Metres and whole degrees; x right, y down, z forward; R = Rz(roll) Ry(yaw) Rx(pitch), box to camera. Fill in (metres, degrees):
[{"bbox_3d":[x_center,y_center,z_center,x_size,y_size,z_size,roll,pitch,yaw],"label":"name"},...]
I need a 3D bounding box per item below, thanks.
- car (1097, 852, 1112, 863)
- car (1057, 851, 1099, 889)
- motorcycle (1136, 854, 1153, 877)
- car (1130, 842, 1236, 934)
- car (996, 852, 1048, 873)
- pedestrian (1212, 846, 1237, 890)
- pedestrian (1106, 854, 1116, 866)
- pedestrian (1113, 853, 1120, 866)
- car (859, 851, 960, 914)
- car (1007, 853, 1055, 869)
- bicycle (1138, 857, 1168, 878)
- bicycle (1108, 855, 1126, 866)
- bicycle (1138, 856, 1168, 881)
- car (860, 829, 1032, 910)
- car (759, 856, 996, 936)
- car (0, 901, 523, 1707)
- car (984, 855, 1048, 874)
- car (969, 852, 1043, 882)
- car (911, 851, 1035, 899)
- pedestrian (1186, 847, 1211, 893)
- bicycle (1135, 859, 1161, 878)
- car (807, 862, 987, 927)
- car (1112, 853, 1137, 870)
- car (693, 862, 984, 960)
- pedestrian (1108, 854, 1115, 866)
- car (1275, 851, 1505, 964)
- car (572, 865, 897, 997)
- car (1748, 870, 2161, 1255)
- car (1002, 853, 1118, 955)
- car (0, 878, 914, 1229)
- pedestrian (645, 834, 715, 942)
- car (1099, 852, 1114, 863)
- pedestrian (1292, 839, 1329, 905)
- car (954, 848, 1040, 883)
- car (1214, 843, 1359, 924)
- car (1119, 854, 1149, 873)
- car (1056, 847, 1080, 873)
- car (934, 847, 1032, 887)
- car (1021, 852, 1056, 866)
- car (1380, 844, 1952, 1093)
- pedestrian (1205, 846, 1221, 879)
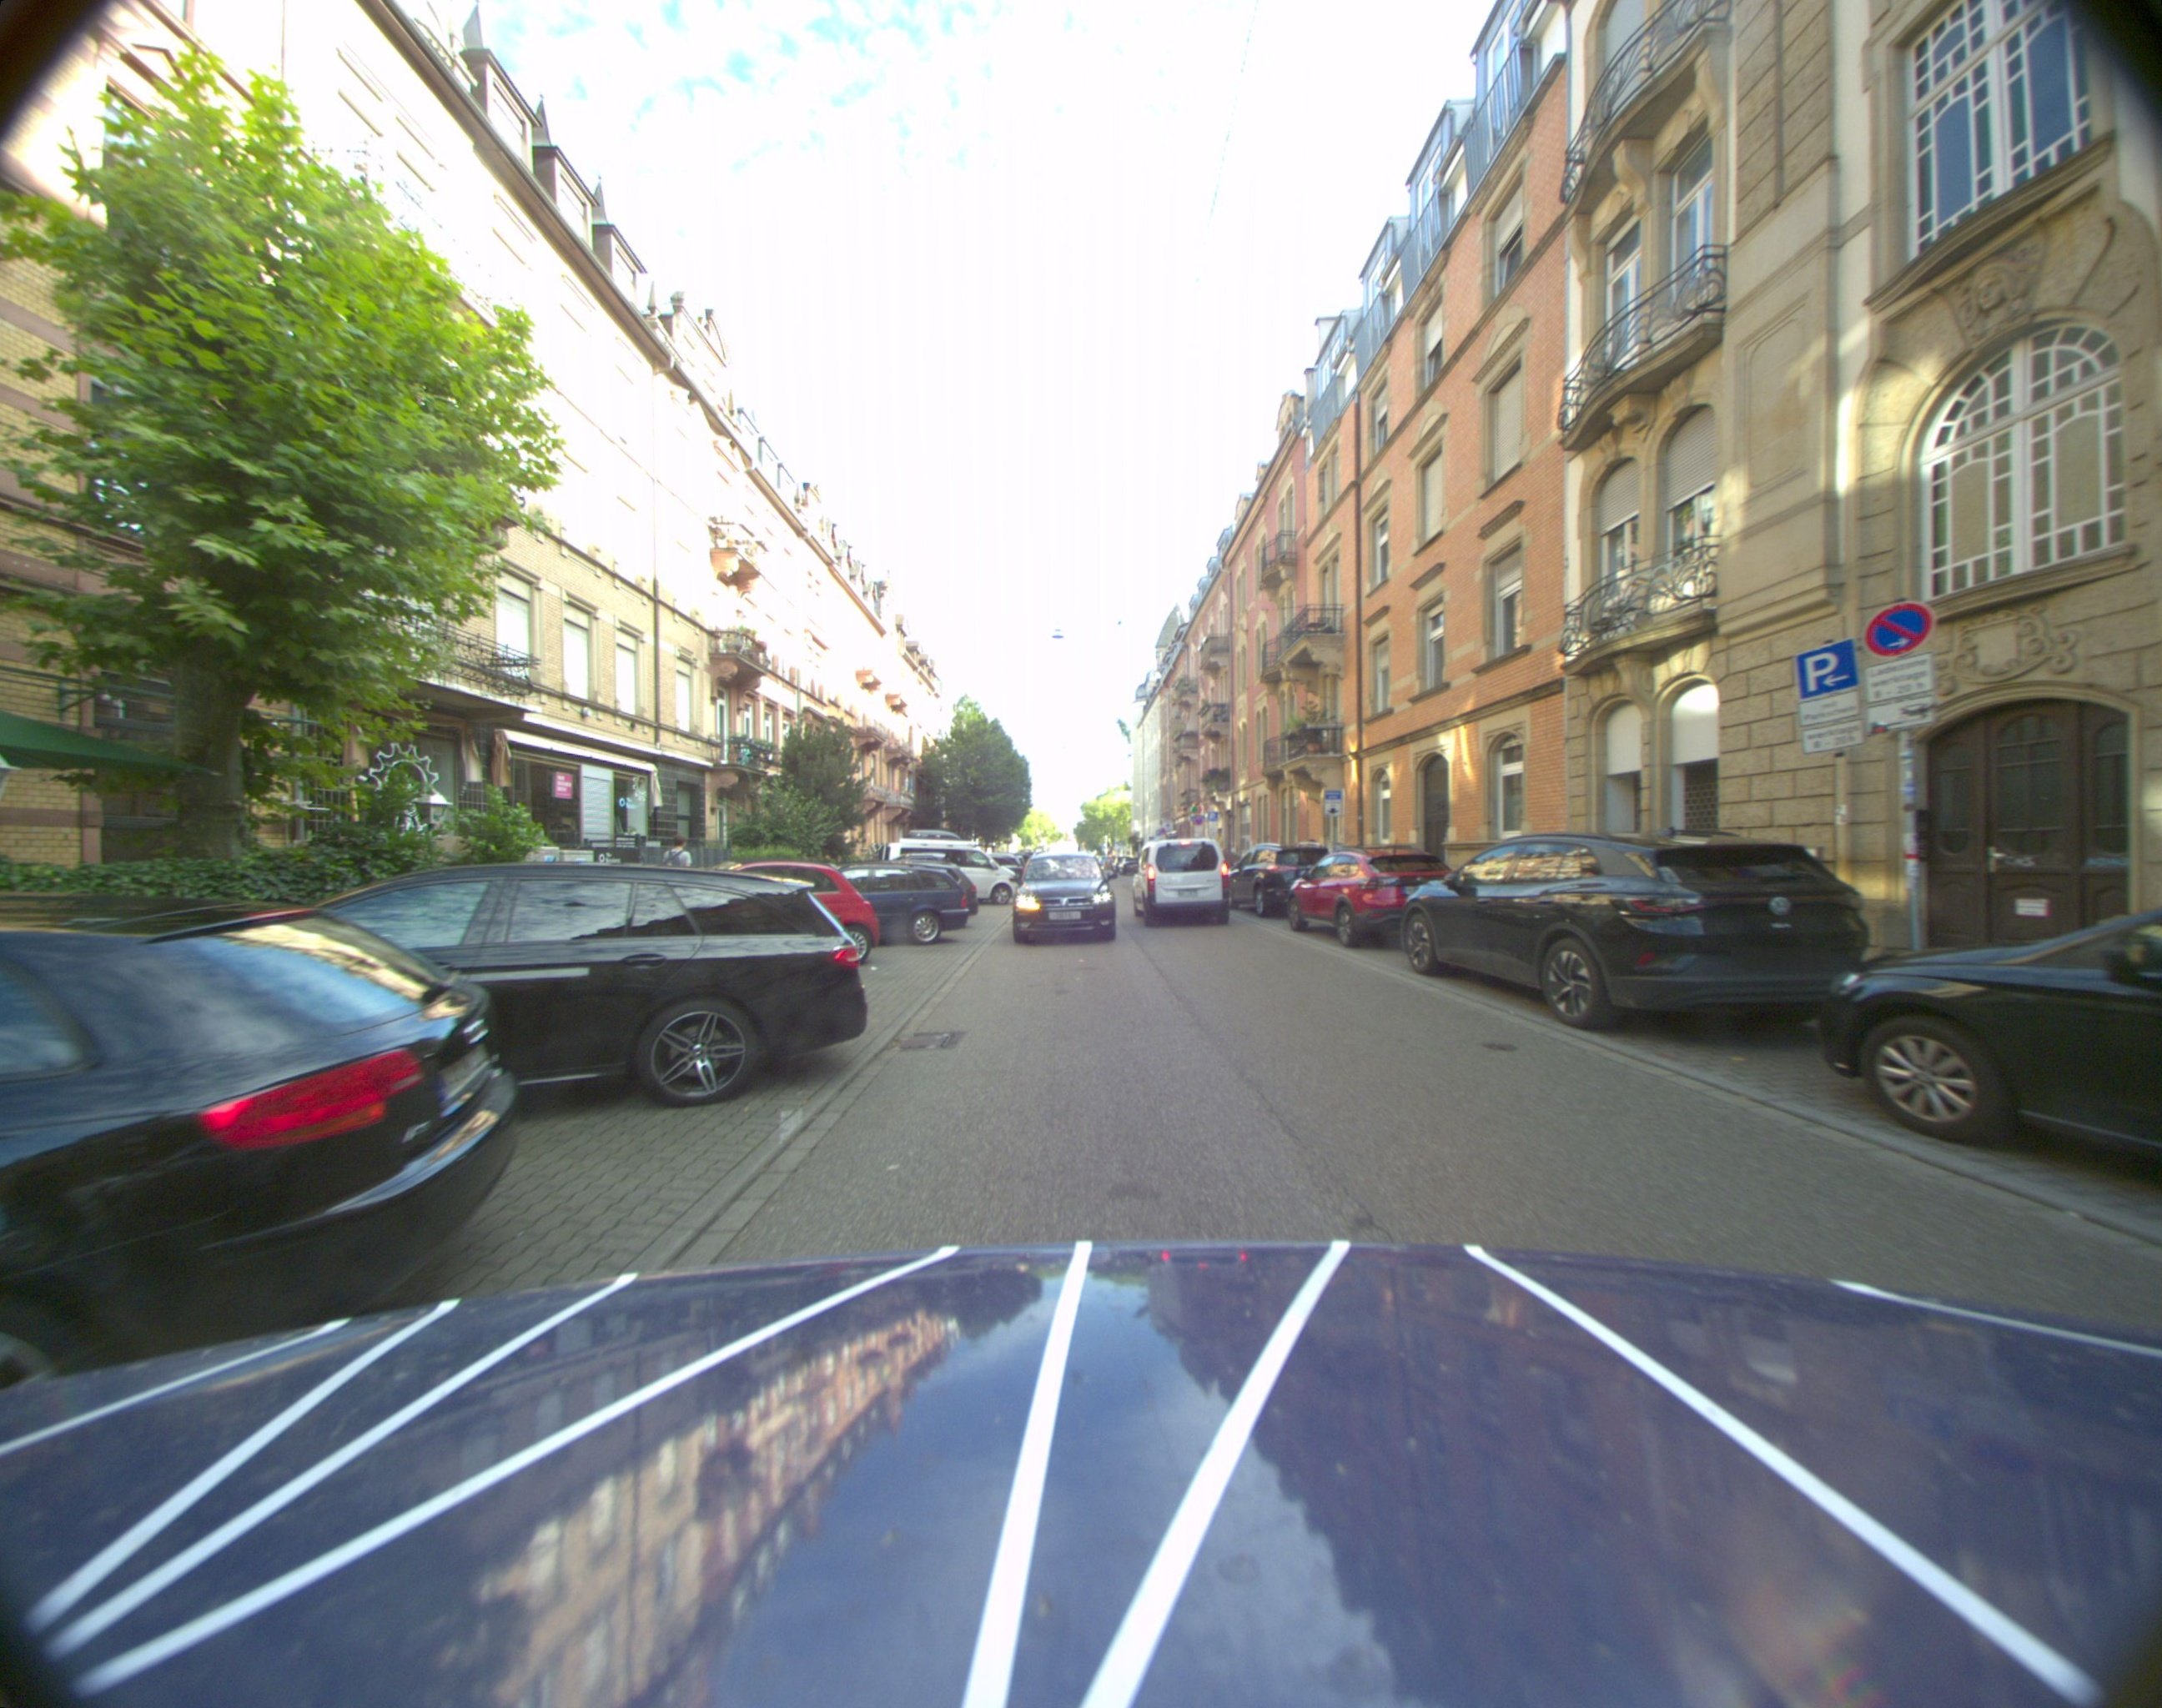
[{"bbox_3d":[3.421,0.481,111.024,1.911,1.412,3.999,-2,0,-1],"label":"car"},{"bbox_3d":[-0.114,0.731,36.321,1.811,1.622,4.000,-3,0,0],"label":"car"},{"bbox_3d":[4.000,0.707,47.834,0.708,1.376,2.025,-2,0,14],"label":"motorcycle"},{"bbox_3d":[2.216,0.676,17.618,1.922,1.817,4.438,-2,0,1],"label":"car"},{"bbox_3d":[-5.027,0.705,64.756,4.008,1.689,1.848,0,-1,-36],"label":"car"},{"bbox_3d":[5.484,0.538,29.090,0.682,1.651,0.550,-2,1,-31],"label":"pedestrian"},{"bbox_3d":[3.398,0.664,85.603,1.089,1.365,0.895,-2,1,7],"label":"pedestrian"},{"bbox_3d":[3.891,0.618,82.429,0.689,1.365,0.739,-2,1,3],"label":"pedestrian"},{"bbox_3d":[-4.877,0.826,21.619,2.473,1.656,1.344,3,-2,-27],"label":"car"},{"bbox_3d":[-5.309,0.733,81.039,4.817,1.535,1.866,1,0,-33],"label":"car"},{"bbox_3d":[4.283,0.807,45.323,1.794,1.193,0.589,-2,1,-37],"label":"bicycle"},{"bbox_3d":[3.872,0.697,81.302,1.873,1.168,0.687,-2,1,1],"label":"bicycle"},{"bbox_3d":[4.011,0.775,42.183,1.680,1.314,0.526,-2,1,-37],"label":"bicycle"},{"bbox_3d":[-4.325,0.463,24.717,5.169,2.391,1.913,0,0,-34],"label":"car"},{"bbox_3d":[-4.220,0.871,16.194,4.479,1.468,1.884,3,-2,-40],"label":"car"},{"bbox_3d":[-4.082,0.941,1.560,4.421,1.448,1.939,0,0,-25],"label":"car"},{"bbox_3d":[-4.993,0.811,58.478,4.620,1.443,1.788,1,0,-33],"label":"car"},{"bbox_3d":[-4.444,0.754,45.097,4.007,1.731,1.835,1,0,-32],"label":"car"},{"bbox_3d":[-4.291,0.803,30.446,4.466,1.722,1.995,-1,0,-36],"label":"car"},{"bbox_3d":[4.492,0.613,29.016,0.566,1.699,0.666,-2,1,-36],"label":"pedestrian"},{"bbox_3d":[4.058,0.864,45.937,1.573,1.114,0.589,-2,1,-37],"label":"bicycle"},{"bbox_3d":[-4.504,0.932,18.925,4.003,1.451,1.746,1,0,-42],"label":"car"},{"bbox_3d":[3.860,0.651,68.496,1.674,1.407,4.010,-2,0,-4],"label":"car"},{"bbox_3d":[-4.141,0.914,13.292,4.478,1.455,1.874,2,-1,-35],"label":"car"},{"bbox_3d":[3.335,0.673,83.056,0.739,1.341,0.644,-2,1,2],"label":"pedestrian"},{"bbox_3d":[4.907,0.742,12.873,1.999,1.536,4.425,0,1,-2],"label":"car"},{"bbox_3d":[-4.645,0.908,10.406,3.727,1.476,1.736,1,-1,-39],"label":"car"},{"bbox_3d":[5.113,0.812,2.529,1.999,1.412,4.243,0,0,-2],"label":"car"},{"bbox_3d":[-0.246,0.838,14.876,1.874,1.644,4.387,-2,0,3],"label":"car"},{"bbox_3d":[-3.725,0.925,4.877,4.776,1.448,2.052,2,-1,-29],"label":"car"},{"bbox_3d":[-7.160,0.592,13.587,0.841,1.867,0.723,0,1,3],"label":"pedestrian"},{"bbox_3d":[3.514,0.492,104.939,1.828,1.477,4.169,-2,0,-1],"label":"car"},{"bbox_3d":[6.463,0.485,21.396,0.758,1.797,0.863,-2,1,3],"label":"pedestrian"},{"bbox_3d":[-4.666,0.644,42.444,4.412,1.812,1.750,1,1,-32],"label":"car"},{"bbox_3d":[4.807,0.647,18.607,1.878,1.671,4.892,-2,0,-4],"label":"car"},{"bbox_3d":[4.033,0.708,58.635,1.817,1.343,5.114,-1,0,-2],"label":"car"},{"bbox_3d":[-1.011,0.494,60.880,1.811,1.914,4.000,-3,0,0],"label":"car"},{"bbox_3d":[-4.864,0.671,38.189,4.649,1.774,1.810,2,-2,-2],"label":"car"},{"bbox_3d":[-5.435,0.686,97.441,4.006,1.663,1.922,-2,1,-32],"label":"car"},{"bbox_3d":[4.787,0.731,7.399,1.795,1.619,4.846,0,1,-1],"label":"car"},{"bbox_3d":[6.914,0.430,39.841,0.665,1.686,0.763,-2,1,-1],"label":"pedestrian"}]
